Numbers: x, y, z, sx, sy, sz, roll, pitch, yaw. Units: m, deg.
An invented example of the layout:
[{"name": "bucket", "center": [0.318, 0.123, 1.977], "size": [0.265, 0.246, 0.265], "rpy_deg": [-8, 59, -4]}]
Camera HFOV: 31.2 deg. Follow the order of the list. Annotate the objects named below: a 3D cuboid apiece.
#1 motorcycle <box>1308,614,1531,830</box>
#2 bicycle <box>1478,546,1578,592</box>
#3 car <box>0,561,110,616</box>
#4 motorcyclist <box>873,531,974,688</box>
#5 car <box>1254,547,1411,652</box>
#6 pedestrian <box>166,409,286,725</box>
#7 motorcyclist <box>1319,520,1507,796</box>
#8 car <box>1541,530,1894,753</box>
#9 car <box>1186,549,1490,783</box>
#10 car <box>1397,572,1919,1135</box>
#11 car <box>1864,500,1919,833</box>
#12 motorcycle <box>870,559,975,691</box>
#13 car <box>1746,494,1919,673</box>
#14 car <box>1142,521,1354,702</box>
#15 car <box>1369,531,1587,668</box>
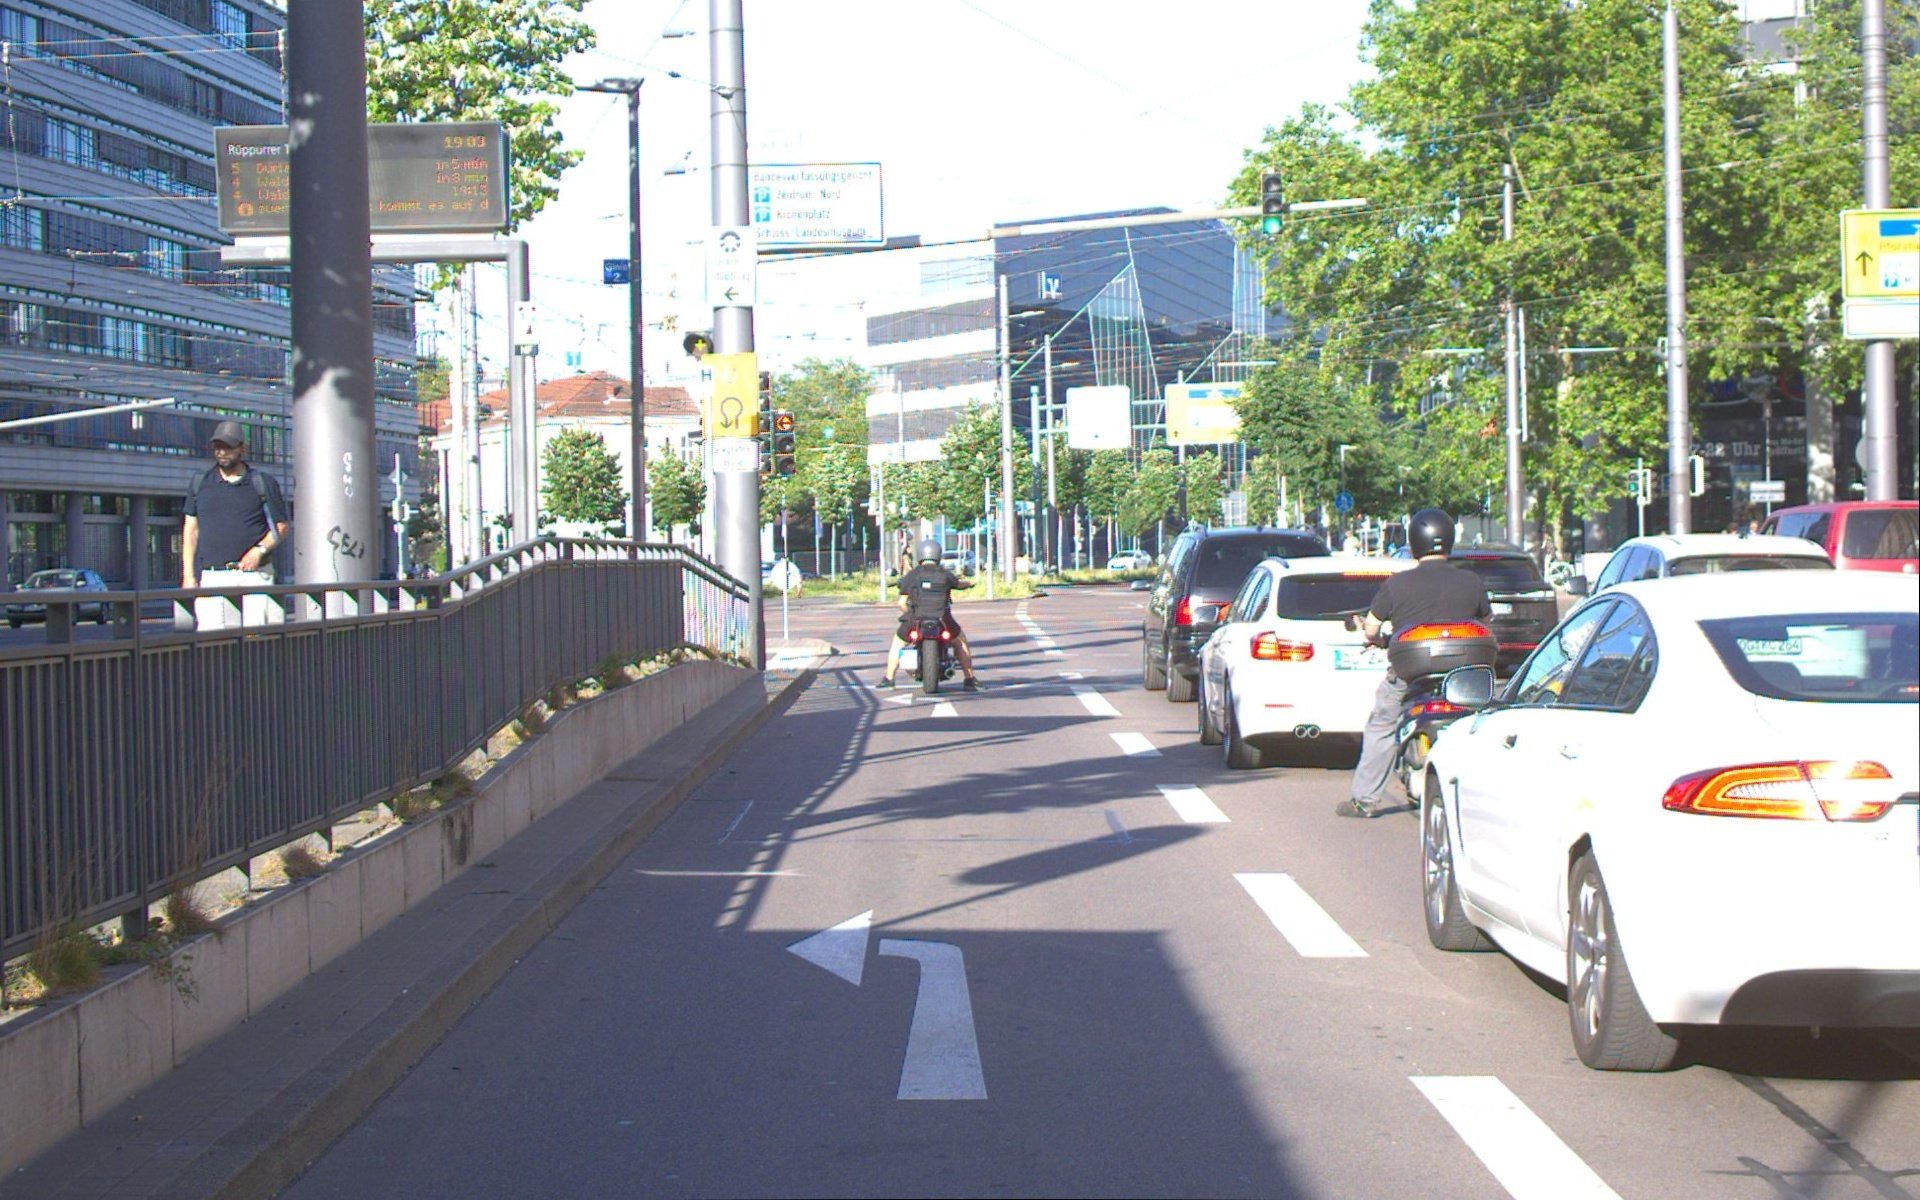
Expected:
[{"name": "motorcycle", "center": [2.512, 0.638, 19.102], "size": [0.837, 1.058, 2.553], "rpy_deg": [-1, 1, -1]}, {"name": "bicycle", "center": [15.764, -0.864, 95.413], "size": [2.694, 1.240, 0.527], "rpy_deg": [0, 1, 23]}, {"name": "car", "center": [-25.276, -0.325, 95.652], "size": [1.994, 1.459, 4.000], "rpy_deg": [-1, 1, 4]}, {"name": "motorcyclist", "center": [-0.375, 0.088, 36.088], "size": [1.019, 1.598, 1.148], "rpy_deg": [1, 1, 0]}, {"name": "car", "center": [5.498, -0.038, 51.172], "size": [1.851, 1.492, 4.379], "rpy_deg": [0, 1, 0]}, {"name": "pedestrian", "center": [-3.915, -0.178, 18.351], "size": [0.519, 1.663, 0.550], "rpy_deg": [0, 1, 0]}, {"name": "motorcyclist", "center": [2.497, 0.302, 19.061], "size": [0.837, 1.470, 1.236], "rpy_deg": [-1, 1, -1]}, {"name": "car", "center": [5.946, 0.268, 27.500], "size": [1.851, 1.634, 4.379], "rpy_deg": [0, 1, 0]}, {"name": "car", "center": [2.614, 0.400, 24.652], "size": [1.693, 1.491, 4.409], "rpy_deg": [1, 1, 0]}, {"name": "car", "center": [2.645, 0.644, 11.252], "size": [1.780, 1.409, 4.819], "rpy_deg": [1, 1, 0]}, {"name": "car", "center": [6.043, 0.384, 16.882], "size": [1.975, 1.753, 4.632], "rpy_deg": [1, 1, 0]}, {"name": "motorcycle", "center": [-0.372, 0.233, 36.009], "size": [1.019, 1.307, 2.914], "rpy_deg": [1, 1, 0]}, {"name": "car", "center": [10.504, -0.219, 39.973], "size": [1.860, 1.954, 4.000], "rpy_deg": [-1, 1, 1]}, {"name": "car", "center": [2.815, 0.078, 34.354], "size": [1.798, 1.699, 4.063], "rpy_deg": [0, 1, 0]}, {"name": "car", "center": [5.906, -0.042, 39.659], "size": [1.851, 1.492, 4.379], "rpy_deg": [0, 1, 0]}]
